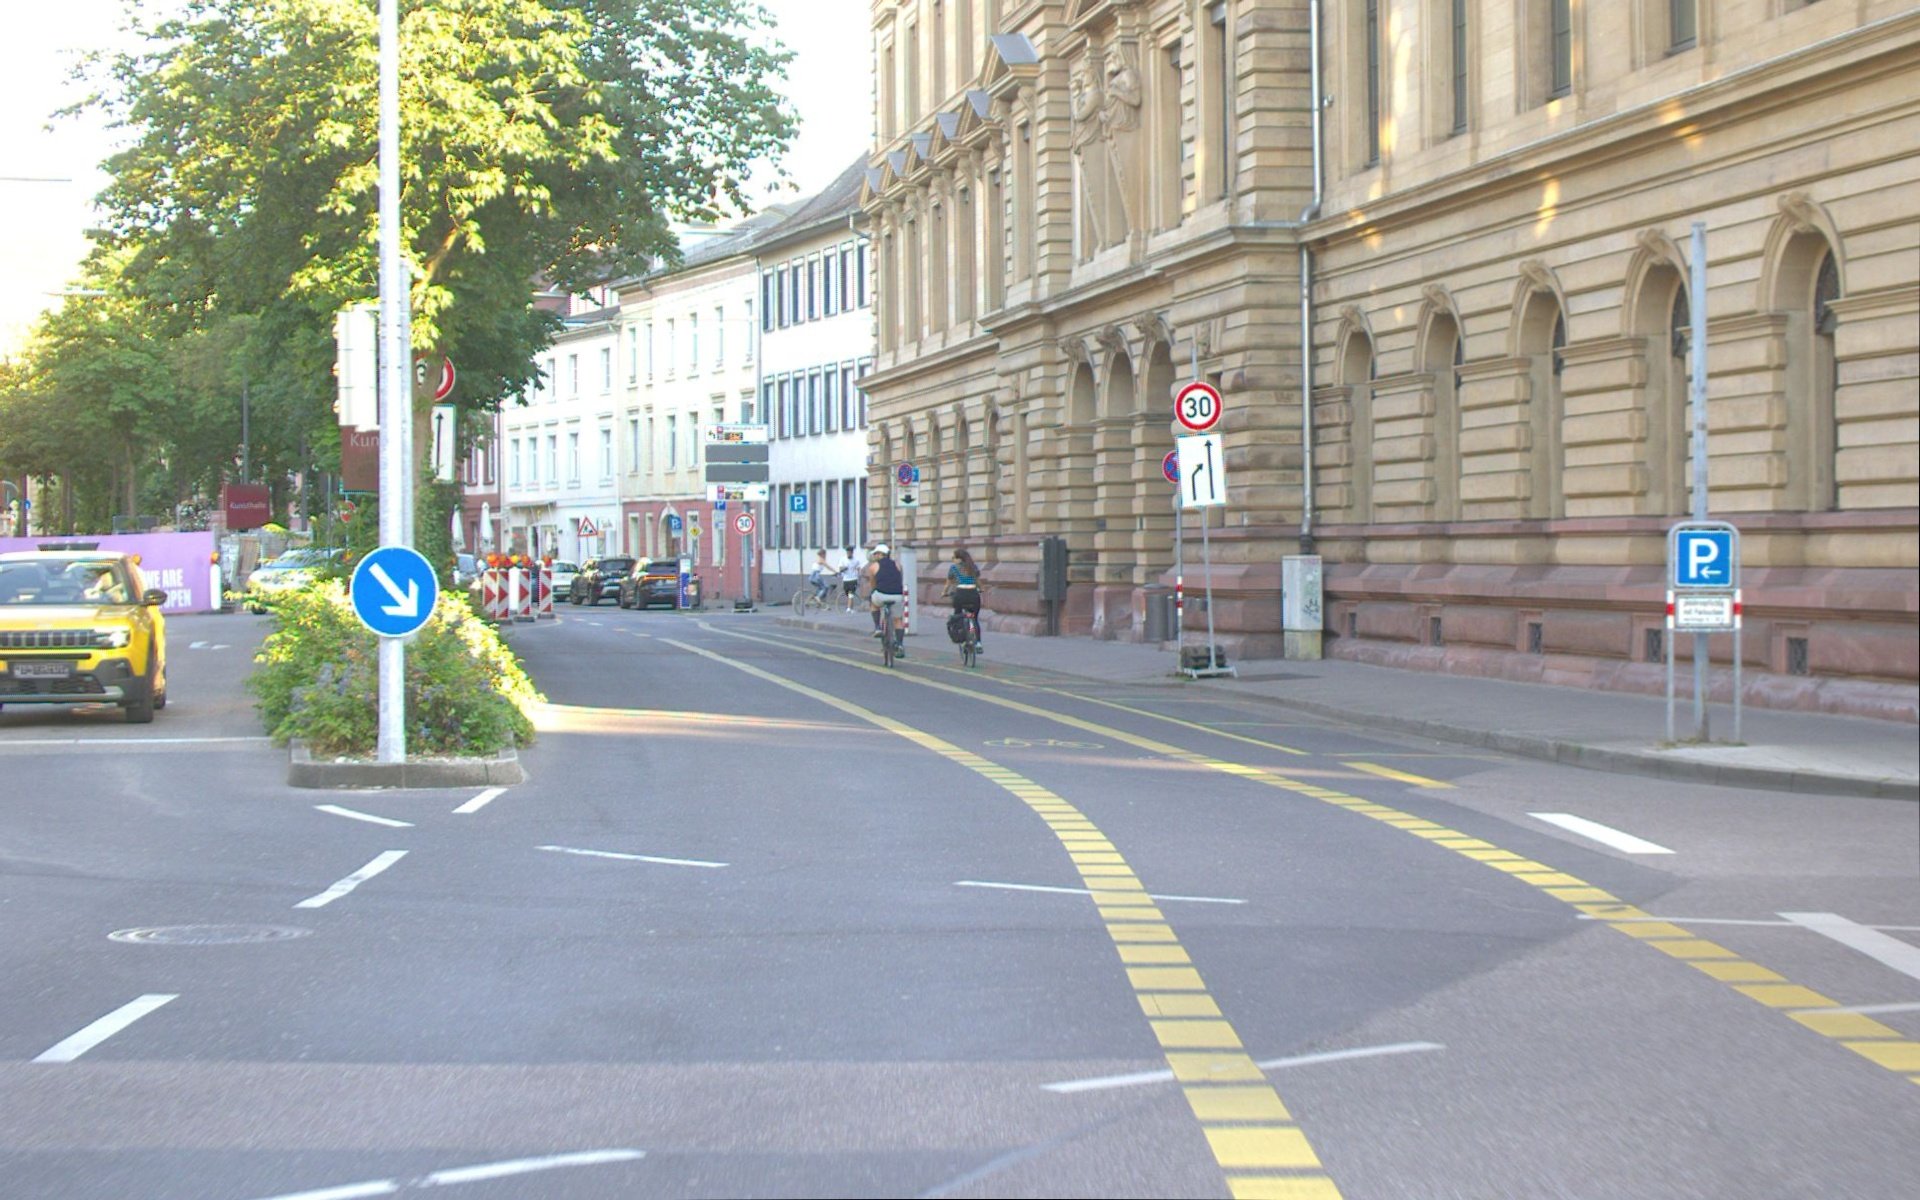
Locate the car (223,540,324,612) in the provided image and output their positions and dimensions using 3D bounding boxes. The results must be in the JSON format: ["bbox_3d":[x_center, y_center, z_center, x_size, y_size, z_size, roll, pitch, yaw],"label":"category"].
[{"bbox_3d":[-16.858,-0.617,84.556,1.842,1.668,4.557,-2,1,-4],"label":"car"}]

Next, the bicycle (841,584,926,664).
[{"bbox_3d":[-1.074,0.326,47.805,0.669,1.067,1.902,1,0,-17],"label":"bicycle"}]

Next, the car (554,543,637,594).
[{"bbox_3d":[-12.185,-1.054,114.723,1.812,1.678,4.001,0,1,-20],"label":"car"}]

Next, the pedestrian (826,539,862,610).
[{"bbox_3d":[-2.906,-0.648,86.190,0.816,1.759,1.038,1,1,-5],"label":"pedestrian"}]

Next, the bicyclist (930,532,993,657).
[{"bbox_3d":[0.018,-0.082,49.024,0.649,1.754,0.864,2,1,-14],"label":"bicyclist"}]

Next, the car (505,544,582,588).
[{"bbox_3d":[-14.897,-1.220,122.771,1.812,1.554,3.866,0,1,-21],"label":"car"}]

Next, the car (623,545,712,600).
[{"bbox_3d":[-9.116,-0.868,107.016,1.812,1.676,3.920,0,1,-20],"label":"car"}]

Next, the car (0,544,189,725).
[{"bbox_3d":[-8.218,0.264,31.644,1.845,1.542,4.120,-1,1,-8],"label":"car"}]

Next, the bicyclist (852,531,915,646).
[{"bbox_3d":[-1.062,-0.166,47.754,0.668,1.560,0.699,2,0,-16],"label":"bicyclist"}]

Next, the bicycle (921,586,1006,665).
[{"bbox_3d":[0.034,0.348,48.956,0.652,1.067,2.259,2,0,-14],"label":"bicycle"}]
